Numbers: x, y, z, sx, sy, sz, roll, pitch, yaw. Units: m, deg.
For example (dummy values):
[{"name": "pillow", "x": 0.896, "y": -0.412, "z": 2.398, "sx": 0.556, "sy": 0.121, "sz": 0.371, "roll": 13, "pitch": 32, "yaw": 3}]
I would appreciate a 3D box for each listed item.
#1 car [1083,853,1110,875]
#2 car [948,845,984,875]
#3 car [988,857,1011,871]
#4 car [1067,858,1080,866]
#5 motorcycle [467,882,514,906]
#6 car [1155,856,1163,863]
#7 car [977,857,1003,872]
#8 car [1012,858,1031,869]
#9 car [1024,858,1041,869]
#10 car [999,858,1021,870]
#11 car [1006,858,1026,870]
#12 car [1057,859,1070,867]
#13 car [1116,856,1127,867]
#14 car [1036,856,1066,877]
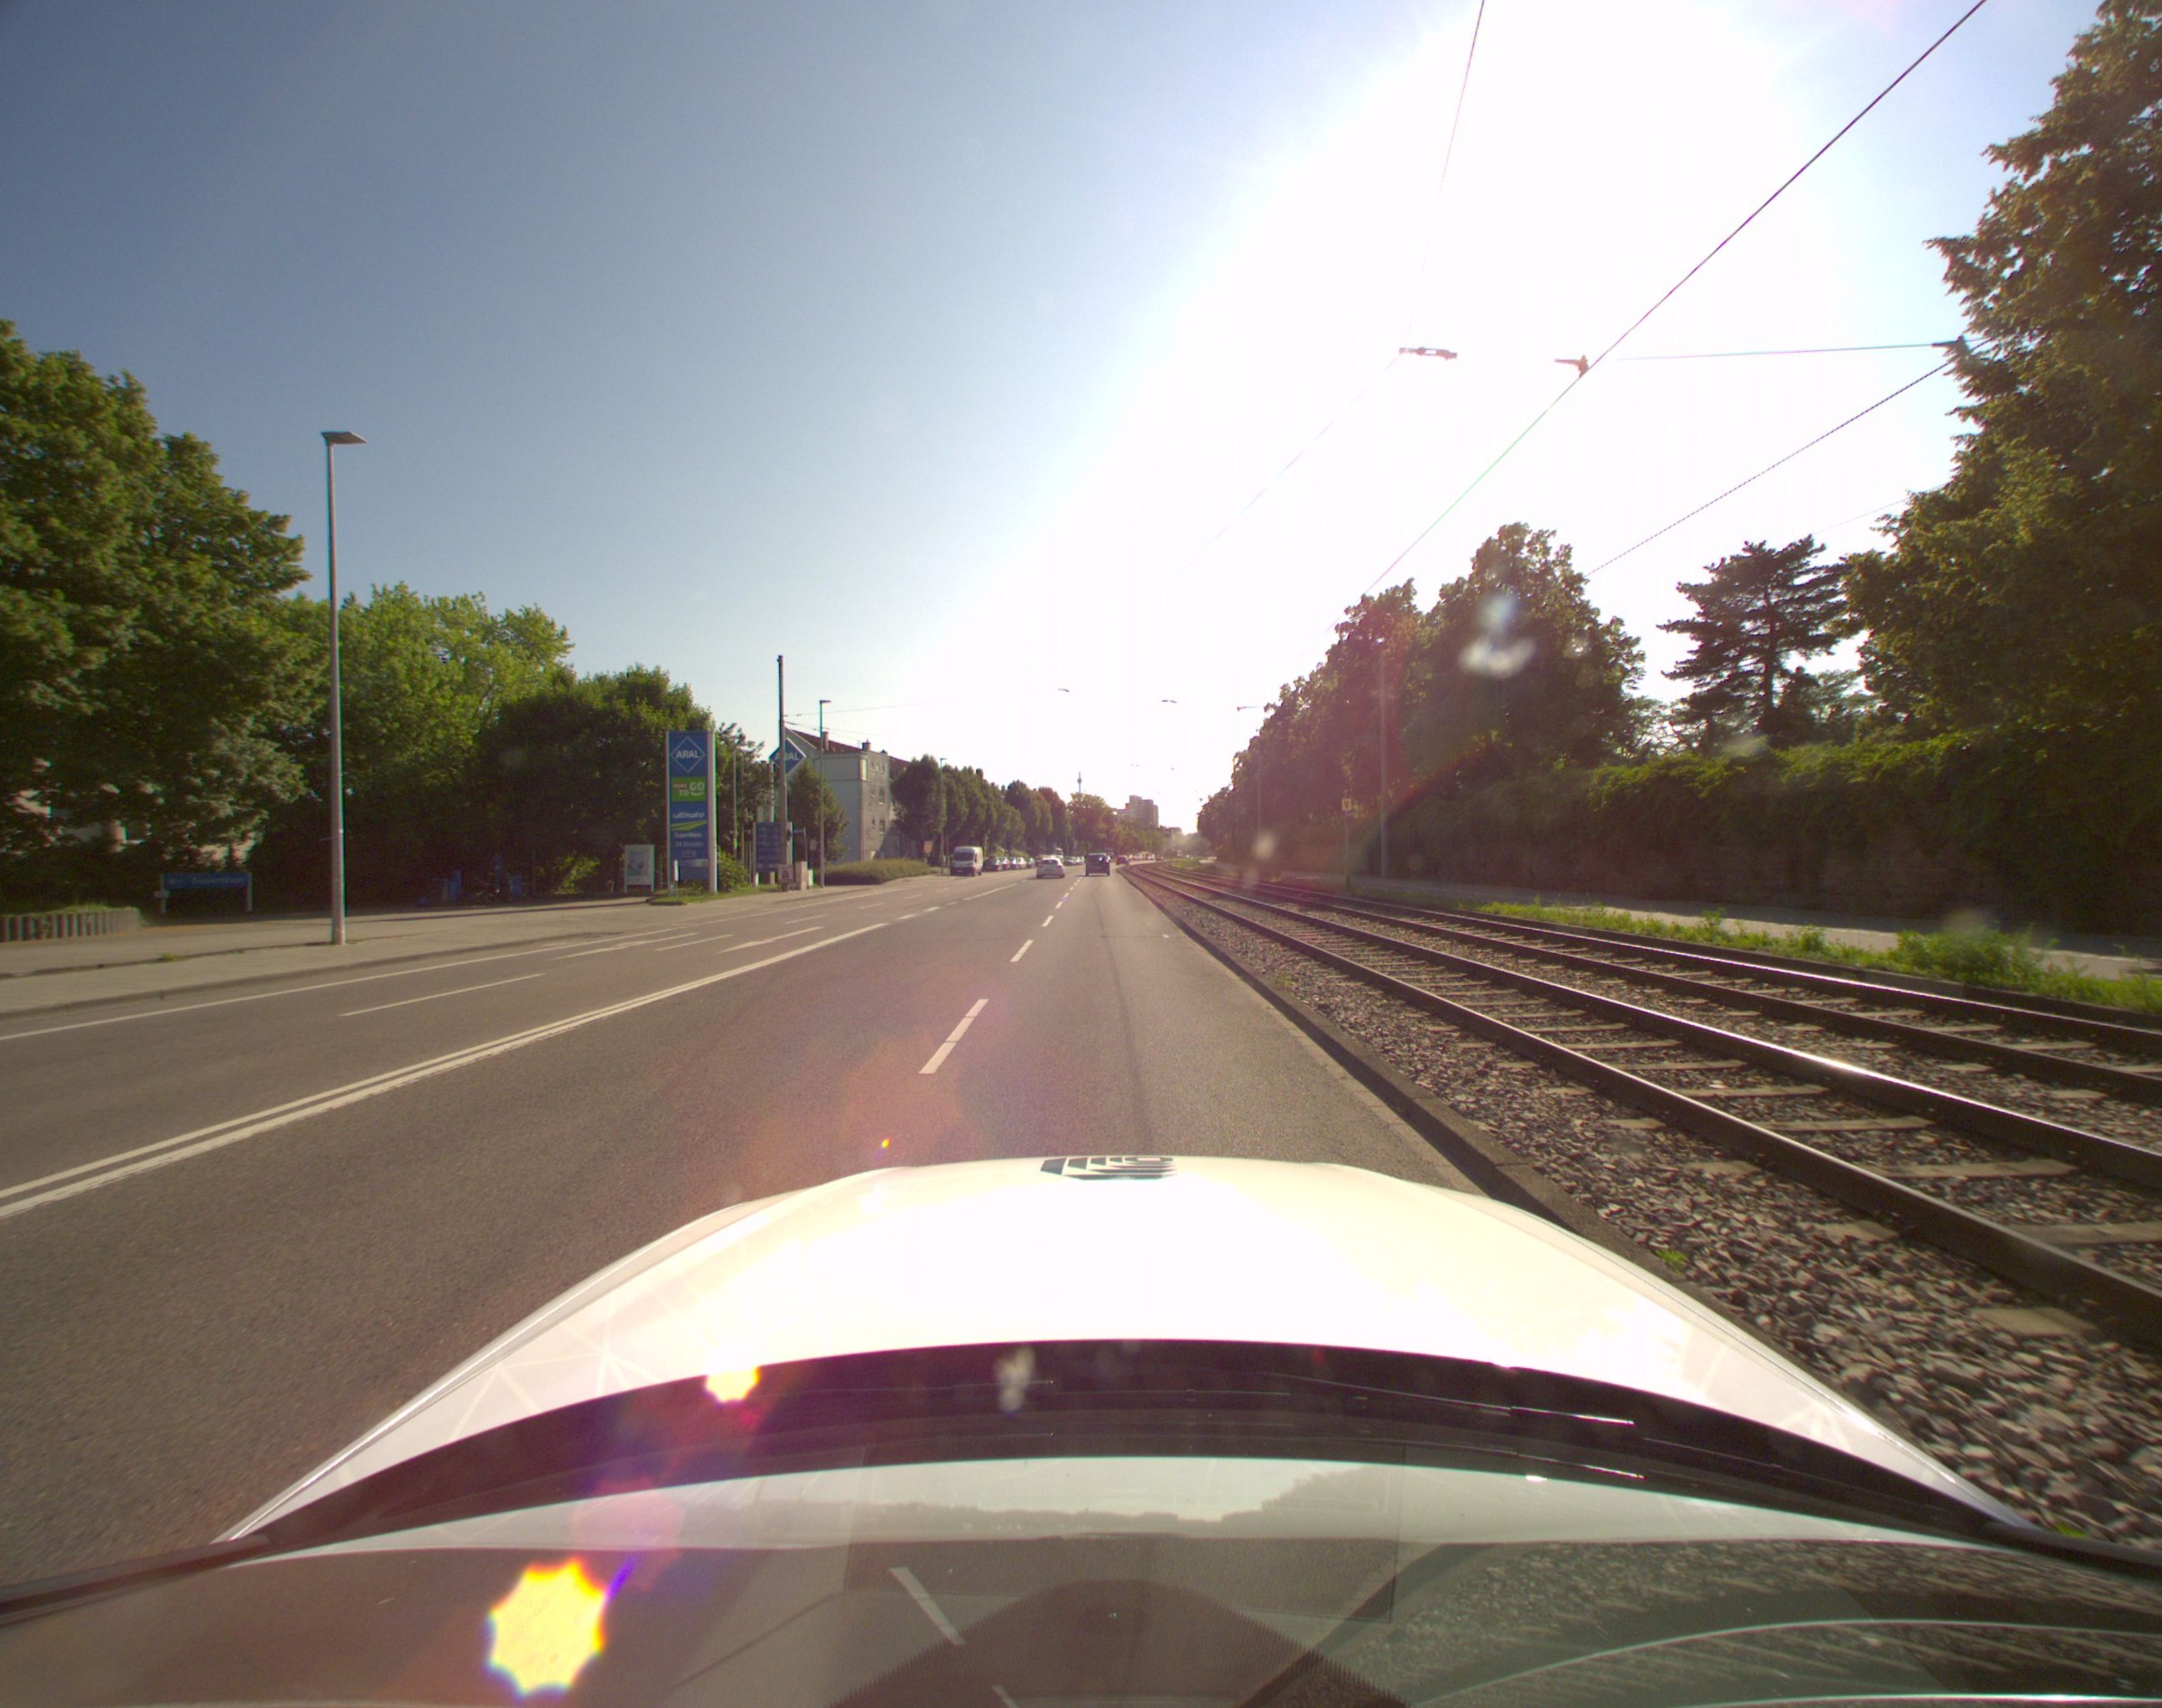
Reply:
[{"name": "car", "x": 1.119, "y": 0.704, "z": 60.239, "sx": 1.720, "sy": 1.593, "sz": 3.597, "roll": 1, "pitch": 0, "yaw": -3}, {"name": "car", "x": -9.733, "y": 0.489, "z": 69.126, "sx": 1.984, "sy": 2.376, "sz": 4.544, "roll": -1, "pitch": 0, "yaw": 4}, {"name": "car", "x": -9.017, "y": 1.115, "z": 90.492, "sx": 1.985, "sy": 1.416, "sz": 3.847, "roll": -1, "pitch": 0, "yaw": 3}, {"name": "car", "x": -1.336, "y": 1.456, "z": 145.078, "sx": 1.985, "sy": 1.416, "sz": 3.847, "roll": -1, "pitch": 0, "yaw": 3}, {"name": "motorcycle", "x": -24.413, "y": 1.643, "z": 33.703, "sx": 0.668, "sy": 0.901, "sz": 1.671, "roll": -1, "pitch": 0, "yaw": 2}, {"name": "car", "x": 18.572, "y": 1.194, "z": 192.935, "sx": 1.715, "sy": 1.593, "sz": 3.608, "roll": 1, "pitch": 0, "yaw": 7}, {"name": "car", "x": -9.387, "y": 1.064, "z": 84.464, "sx": 1.985, "sy": 1.416, "sz": 3.847, "roll": -1, "pitch": 0, "yaw": 3}, {"name": "car", "x": -7.794, "y": 1.242, "z": 107.100, "sx": 1.985, "sy": 1.416, "sz": 3.847, "roll": -1, "pitch": 0, "yaw": 3}, {"name": "car", "x": -7.117, "y": 1.390, "z": 118.842, "sx": 1.985, "sy": 1.416, "sz": 3.847, "roll": -1, "pitch": 0, "yaw": 3}, {"name": "car", "x": -8.393, "y": 1.158, "z": 96.261, "sx": 1.985, "sy": 1.416, "sz": 3.847, "roll": -1, "pitch": 0, "yaw": 3}, {"name": "car", "x": -8.097, "y": 1.194, "z": 101.528, "sx": 1.985, "sy": 1.416, "sz": 3.847, "roll": -1, "pitch": 0, "yaw": 3}, {"name": "car", "x": -2.997, "y": 1.538, "z": 140.111, "sx": 1.985, "sy": 1.416, "sz": 3.847, "roll": -1, "pitch": 0, "yaw": 3}, {"name": "car", "x": 6.139, "y": 1.137, "z": 123.662, "sx": 1.717, "sy": 1.593, "sz": 3.604, "roll": 1, "pitch": 0, "yaw": 3}, {"name": "car", "x": -2.004, "y": 0.822, "z": 55.124, "sx": 1.774, "sy": 1.356, "sz": 3.602, "roll": 1, "pitch": 0, "yaw": 1}]
